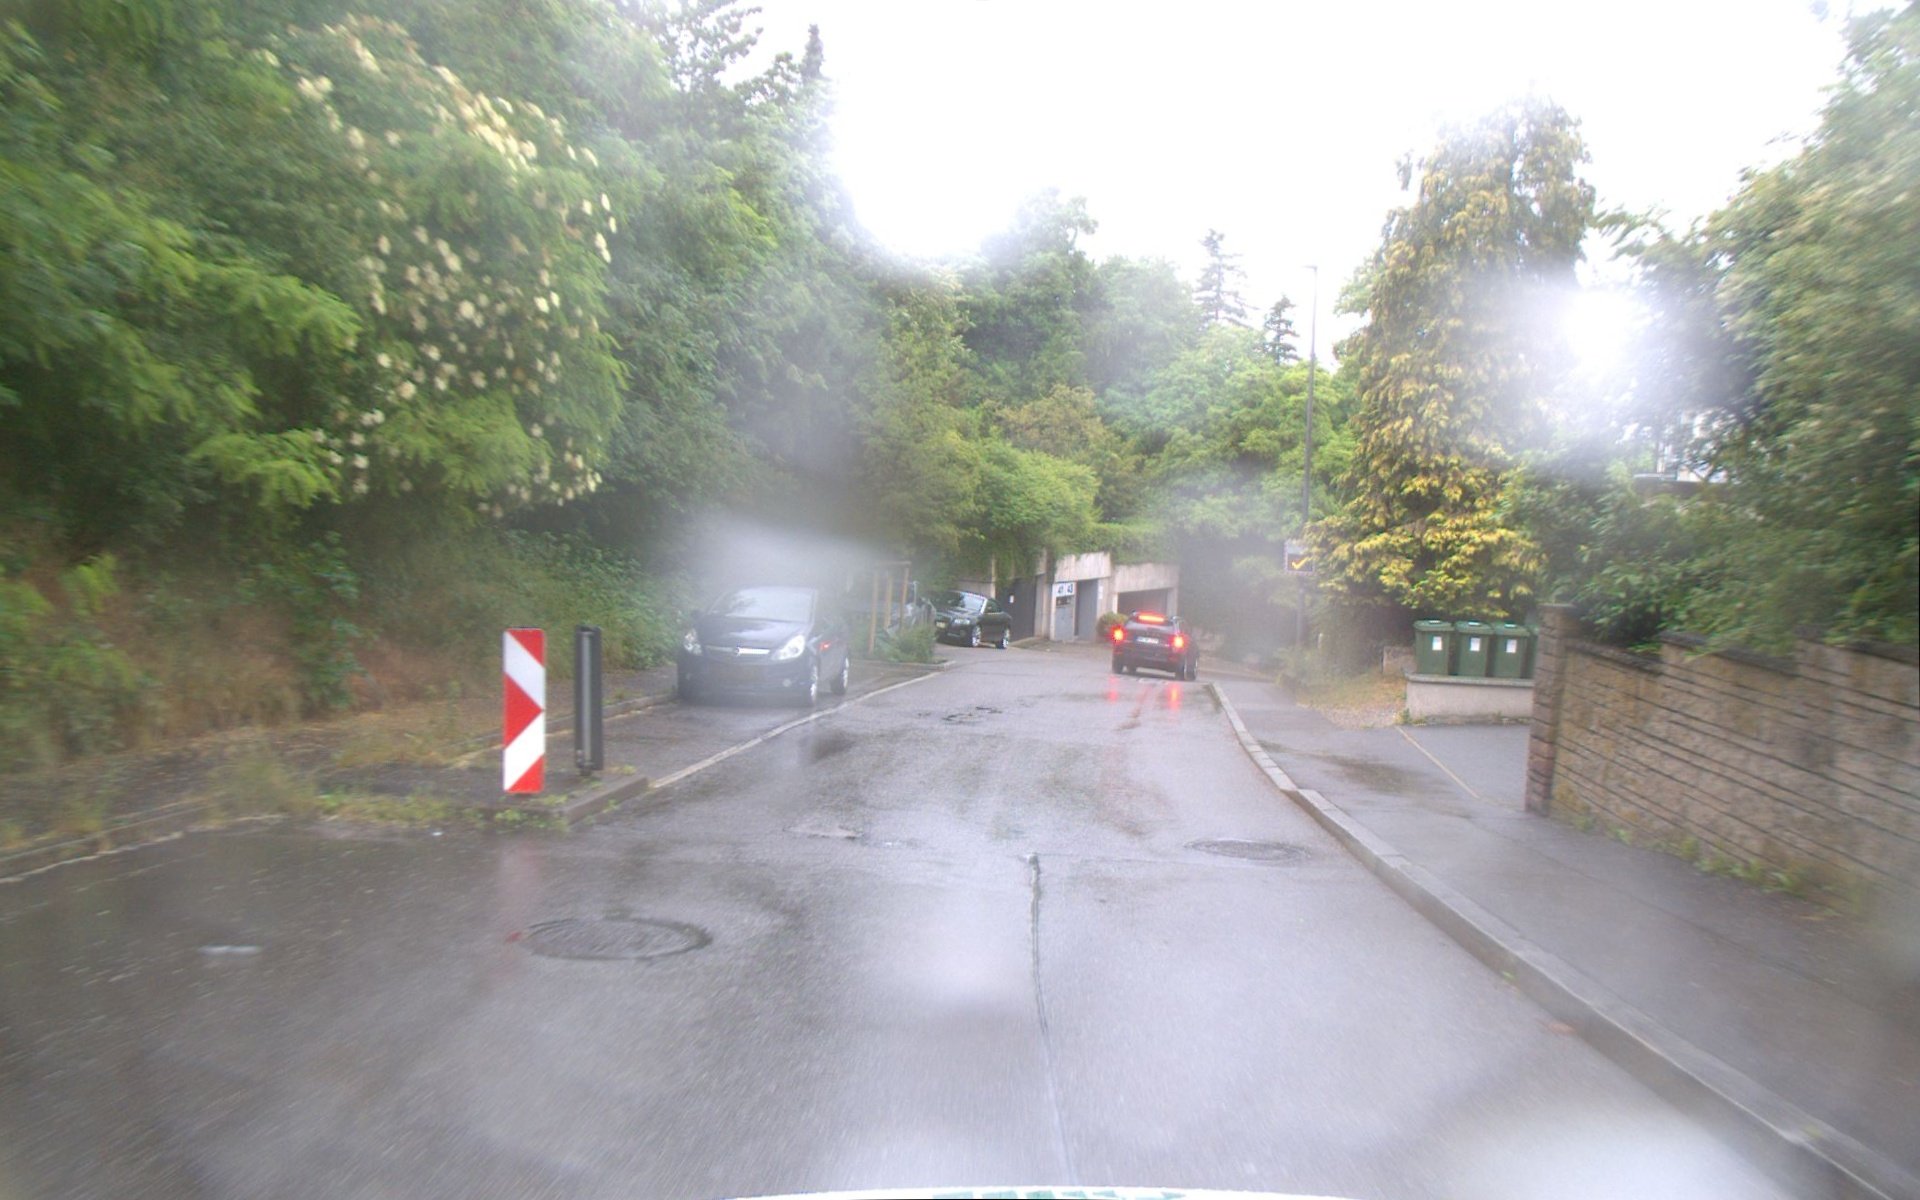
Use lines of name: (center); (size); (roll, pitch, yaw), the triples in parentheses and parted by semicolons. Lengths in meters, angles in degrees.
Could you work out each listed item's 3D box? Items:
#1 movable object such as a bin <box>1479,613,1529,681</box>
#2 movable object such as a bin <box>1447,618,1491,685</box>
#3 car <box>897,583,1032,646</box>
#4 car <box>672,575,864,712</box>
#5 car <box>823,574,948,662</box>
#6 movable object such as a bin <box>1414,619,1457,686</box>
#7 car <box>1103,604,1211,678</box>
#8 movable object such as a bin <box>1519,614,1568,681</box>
movable object such as a bin: (9.029, 0.776, 27.454); (0.613, 1.085, 0.702); (1, 0, 4)
movable object such as a bin: (8.449, 0.852, 27.486); (0.534, 1.085, 0.692); (1, 0, 4)
car: (0.190, 0.402, 44.966); (1.954, 1.534, 4.568); (3, 0, 23)
car: (-2.339, 0.483, 21.124); (1.664, 1.496, 4.002); (3, 1, 4)
car: (-1.536, 0.371, 35.470); (1.951, 1.669, 4.003); (3, 0, 7)
movable object such as a bin: (7.906, 0.863, 27.518); (0.549, 1.085, 0.702); (1, 0, 4)
car: (4.790, 1.003, 39.787); (1.830, 1.538, 4.094); (5, -1, 16)
movable object such as a bin: (9.704, 0.781, 27.522); (0.569, 1.085, 0.702); (1, 0, 4)
